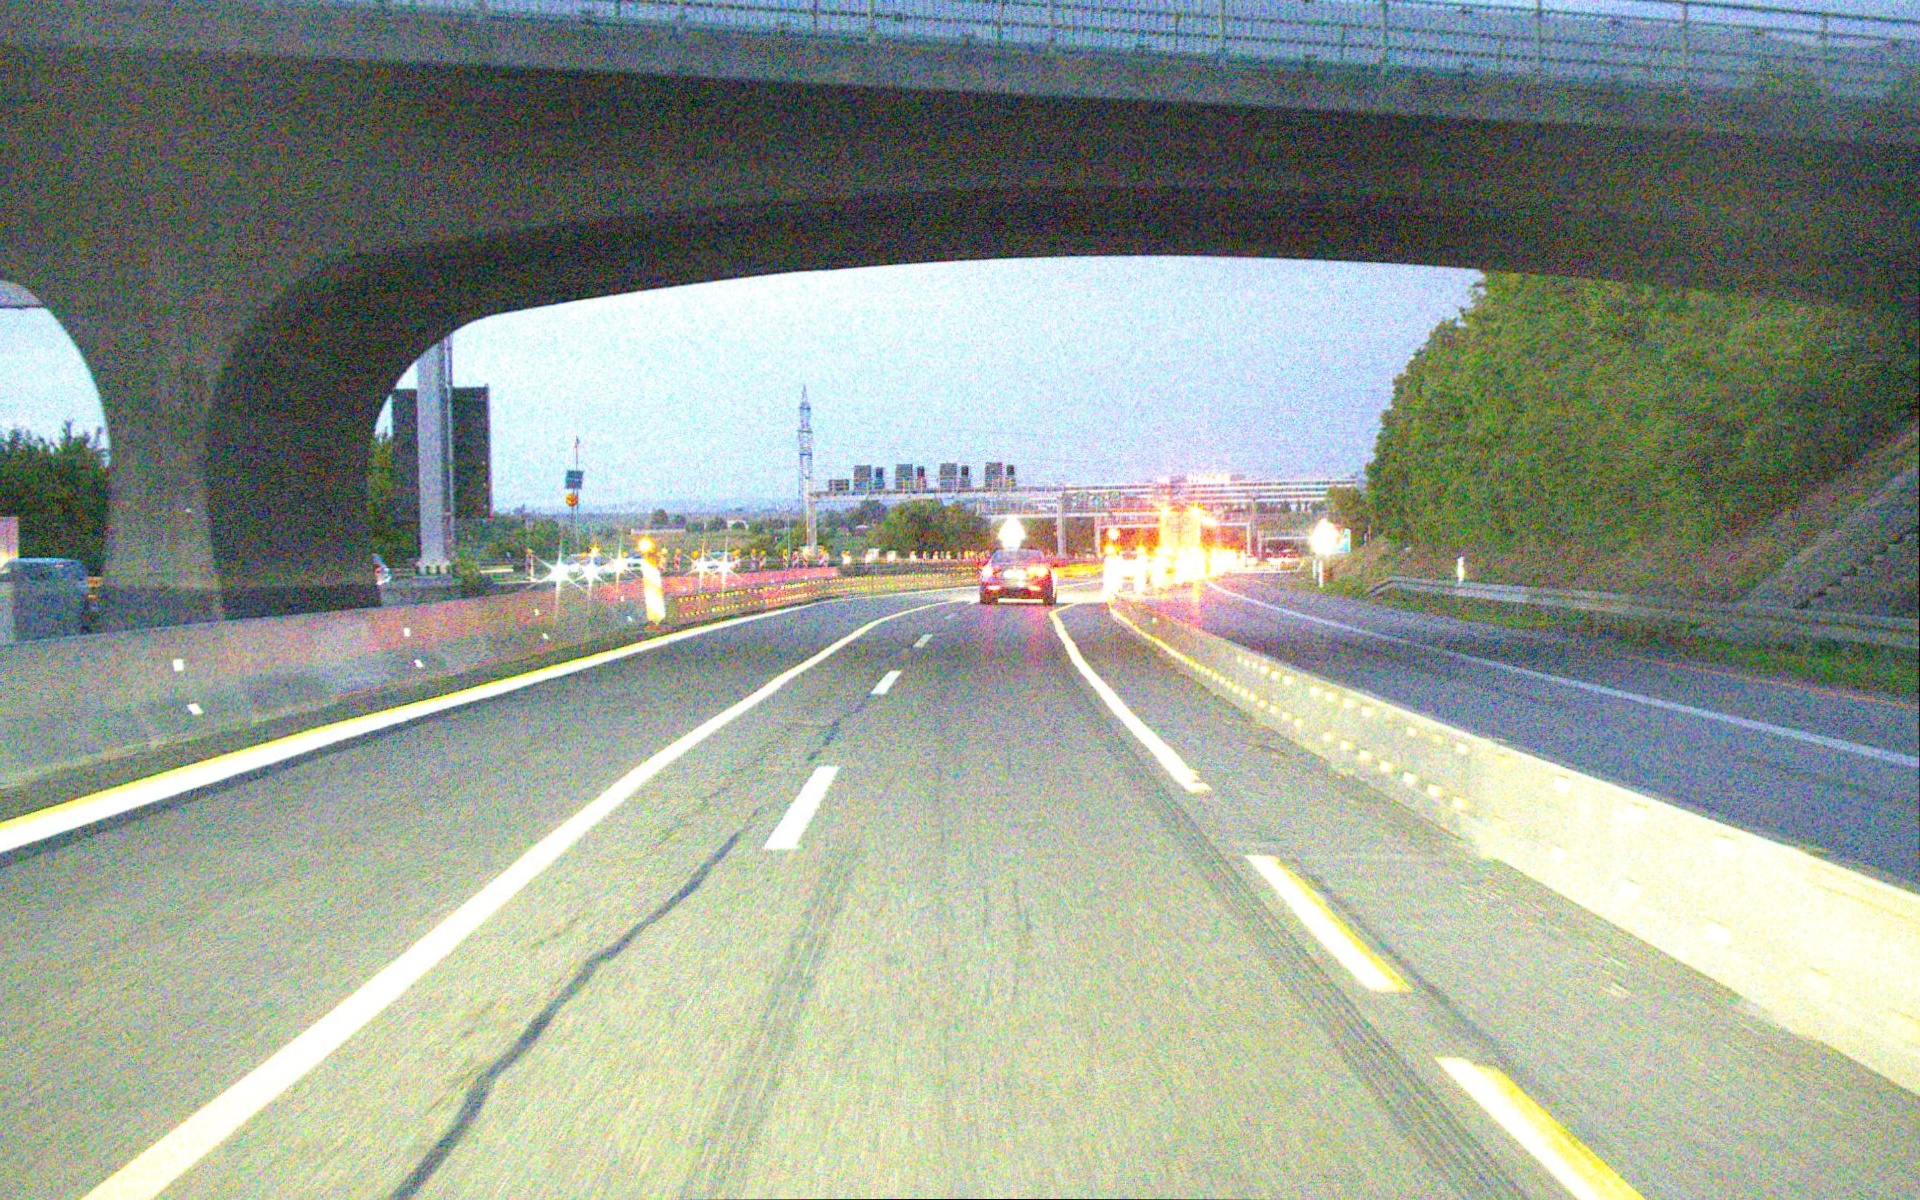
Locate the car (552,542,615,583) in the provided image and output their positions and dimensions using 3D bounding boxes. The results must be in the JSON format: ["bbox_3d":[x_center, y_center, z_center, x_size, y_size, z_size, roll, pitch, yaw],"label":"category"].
[{"bbox_3d":[-15.914,-1.574,145.501,1.831,1.655,4.841,2,1,3],"label":"car"}]

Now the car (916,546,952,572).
[{"bbox_3d":[-1.782,-2.793,236.904,1.994,1.708,3.999,2,1,5],"label":"car"}]

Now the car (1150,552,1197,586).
[{"bbox_3d":[9.467,-1.396,152.481,1.972,1.432,4.000,2,1,3],"label":"car"}]

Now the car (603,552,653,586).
[{"bbox_3d":[-17.410,-1.615,180.439,1.907,1.709,3.943,2,1,4],"label":"car"}]

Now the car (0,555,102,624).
[{"bbox_3d":[-19.719,-0.237,73.904,1.627,1.401,3.520,2,1,1],"label":"car"}]

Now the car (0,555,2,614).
[{"bbox_3d":[-23.636,-0.329,79.605,1.993,1.415,4.001,0,1,-3],"label":"car"}]

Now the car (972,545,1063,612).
[{"bbox_3d":[1.479,-0.562,88.830,2.265,1.616,4.000,2,1,1],"label":"car"}]

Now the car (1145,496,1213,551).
[{"bbox_3d":[14.111,-4.910,222.108,3.605,3.384,8.015,2,1,-1],"label":"car"}]

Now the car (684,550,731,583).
[{"bbox_3d":[-13.457,-1.782,183.331,1.831,1.655,4.841,2,1,3],"label":"car"}]

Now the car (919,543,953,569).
[{"bbox_3d":[-1.668,-3.111,243.887,1.994,1.821,3.999,2,1,5],"label":"car"}]
